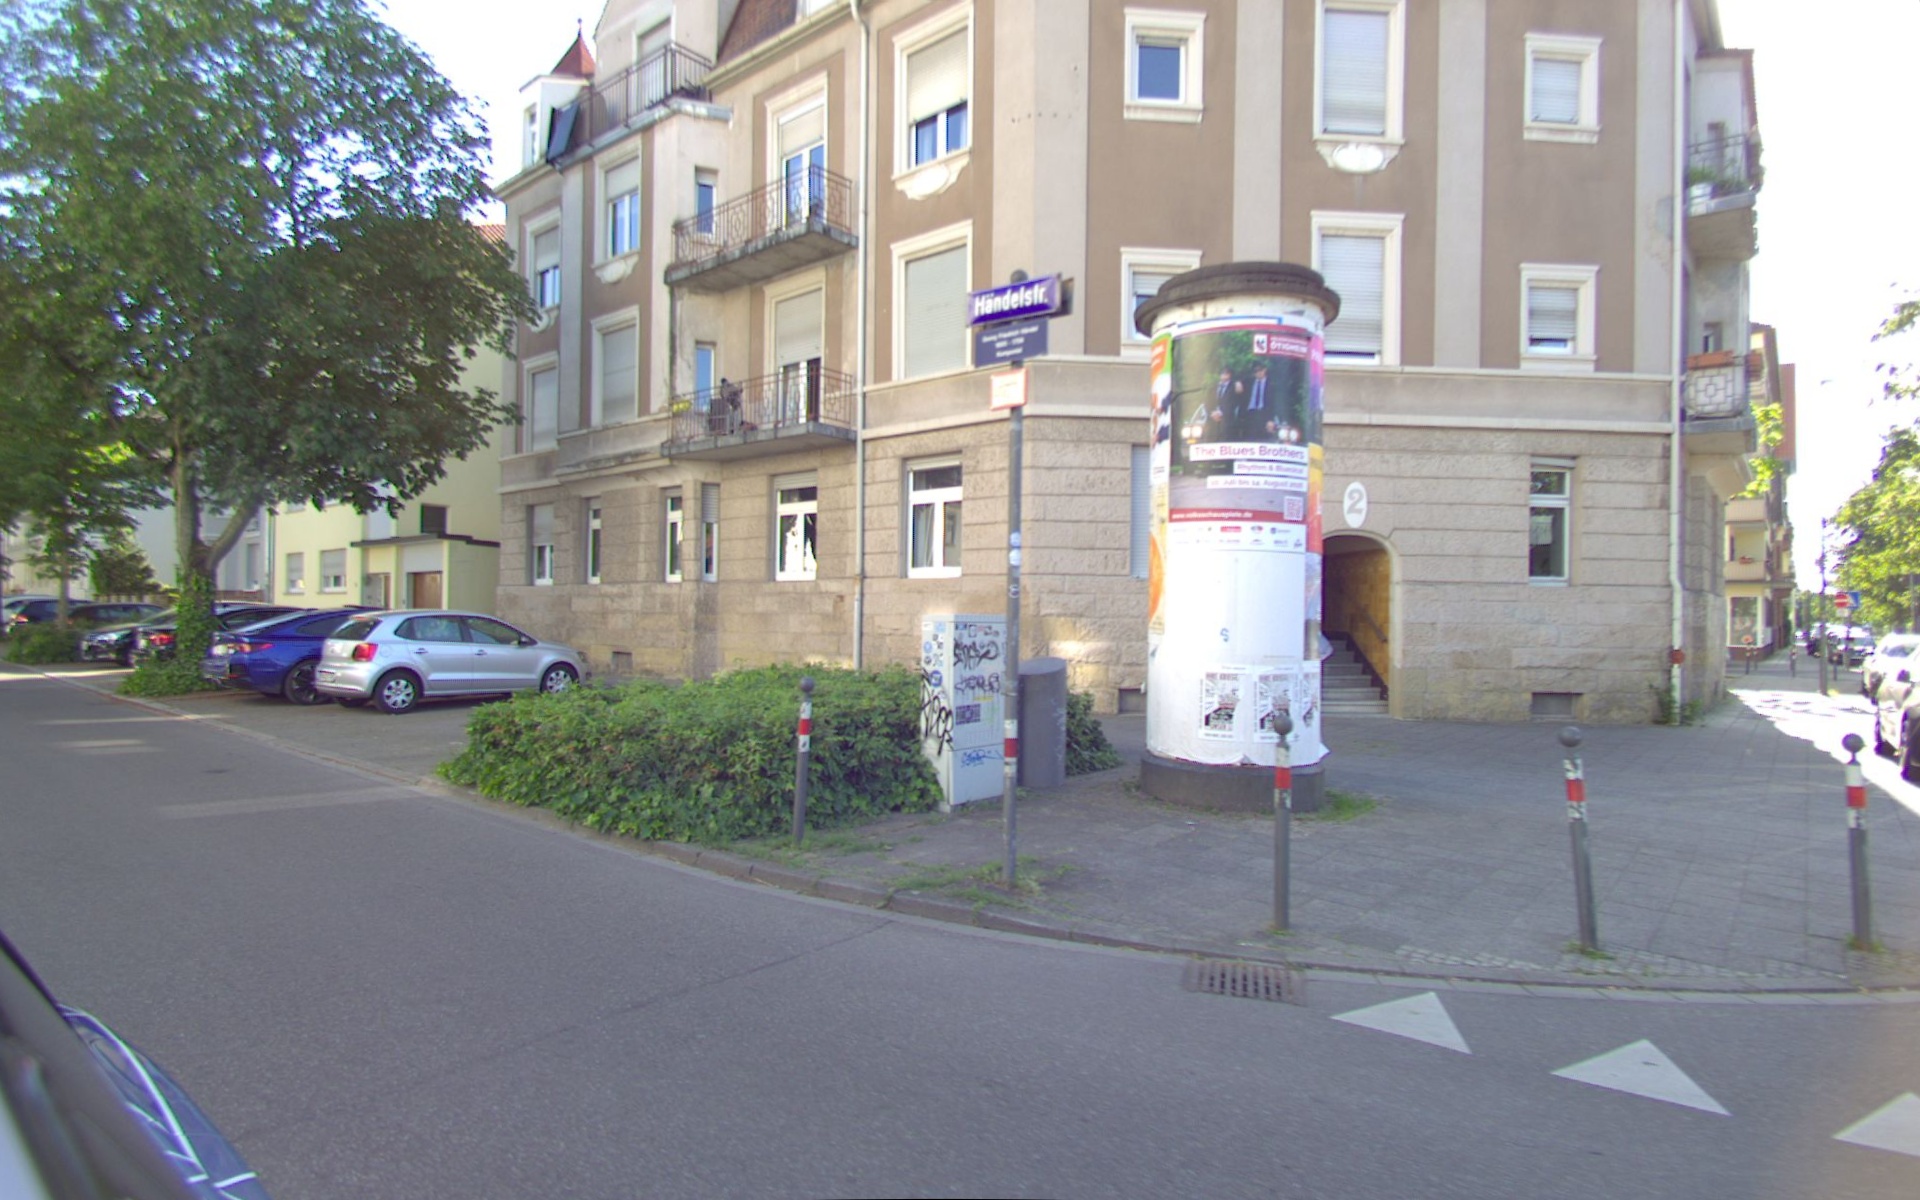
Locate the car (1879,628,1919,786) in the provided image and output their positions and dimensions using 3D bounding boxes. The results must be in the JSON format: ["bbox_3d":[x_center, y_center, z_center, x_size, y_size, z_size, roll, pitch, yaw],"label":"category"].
[{"bbox_3d":[10.874,1.102,10.309,1.866,1.494,3.963,4,1,38],"label":"car"}]

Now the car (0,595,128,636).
[{"bbox_3d":[-34.331,0.580,38.746,1.688,1.506,3.489,0,0,35],"label":"car"}]

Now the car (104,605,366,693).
[{"bbox_3d":[-13.754,0.859,19.424,1.684,1.506,3.757,0,0,27],"label":"car"}]

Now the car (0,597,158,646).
[{"bbox_3d":[-29.167,0.684,33.553,1.688,1.506,3.746,0,0,35],"label":"car"}]

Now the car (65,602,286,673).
[{"bbox_3d":[-18.239,0.812,23.720,1.684,1.506,3.757,0,0,27],"label":"car"}]

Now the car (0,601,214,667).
[{"bbox_3d":[-21.053,0.777,25.114,1.684,1.506,3.757,0,0,27],"label":"car"}]

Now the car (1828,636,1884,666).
[{"bbox_3d":[40.926,2.291,46.301,1.679,1.271,3.751,-1,-2,38],"label":"car"}]

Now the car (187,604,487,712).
[{"bbox_3d":[-9.821,0.822,16.189,1.690,1.506,3.743,0,0,37],"label":"car"}]

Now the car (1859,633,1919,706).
[{"bbox_3d":[20.579,1.468,21.608,1.679,1.426,3.855,4,1,37],"label":"car"}]

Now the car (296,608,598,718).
[{"bbox_3d":[-7.652,0.848,15.386,1.690,1.455,3.743,0,0,37],"label":"car"}]

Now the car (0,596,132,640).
[{"bbox_3d":[-32.505,0.622,36.715,1.688,1.506,3.489,0,0,35],"label":"car"}]
